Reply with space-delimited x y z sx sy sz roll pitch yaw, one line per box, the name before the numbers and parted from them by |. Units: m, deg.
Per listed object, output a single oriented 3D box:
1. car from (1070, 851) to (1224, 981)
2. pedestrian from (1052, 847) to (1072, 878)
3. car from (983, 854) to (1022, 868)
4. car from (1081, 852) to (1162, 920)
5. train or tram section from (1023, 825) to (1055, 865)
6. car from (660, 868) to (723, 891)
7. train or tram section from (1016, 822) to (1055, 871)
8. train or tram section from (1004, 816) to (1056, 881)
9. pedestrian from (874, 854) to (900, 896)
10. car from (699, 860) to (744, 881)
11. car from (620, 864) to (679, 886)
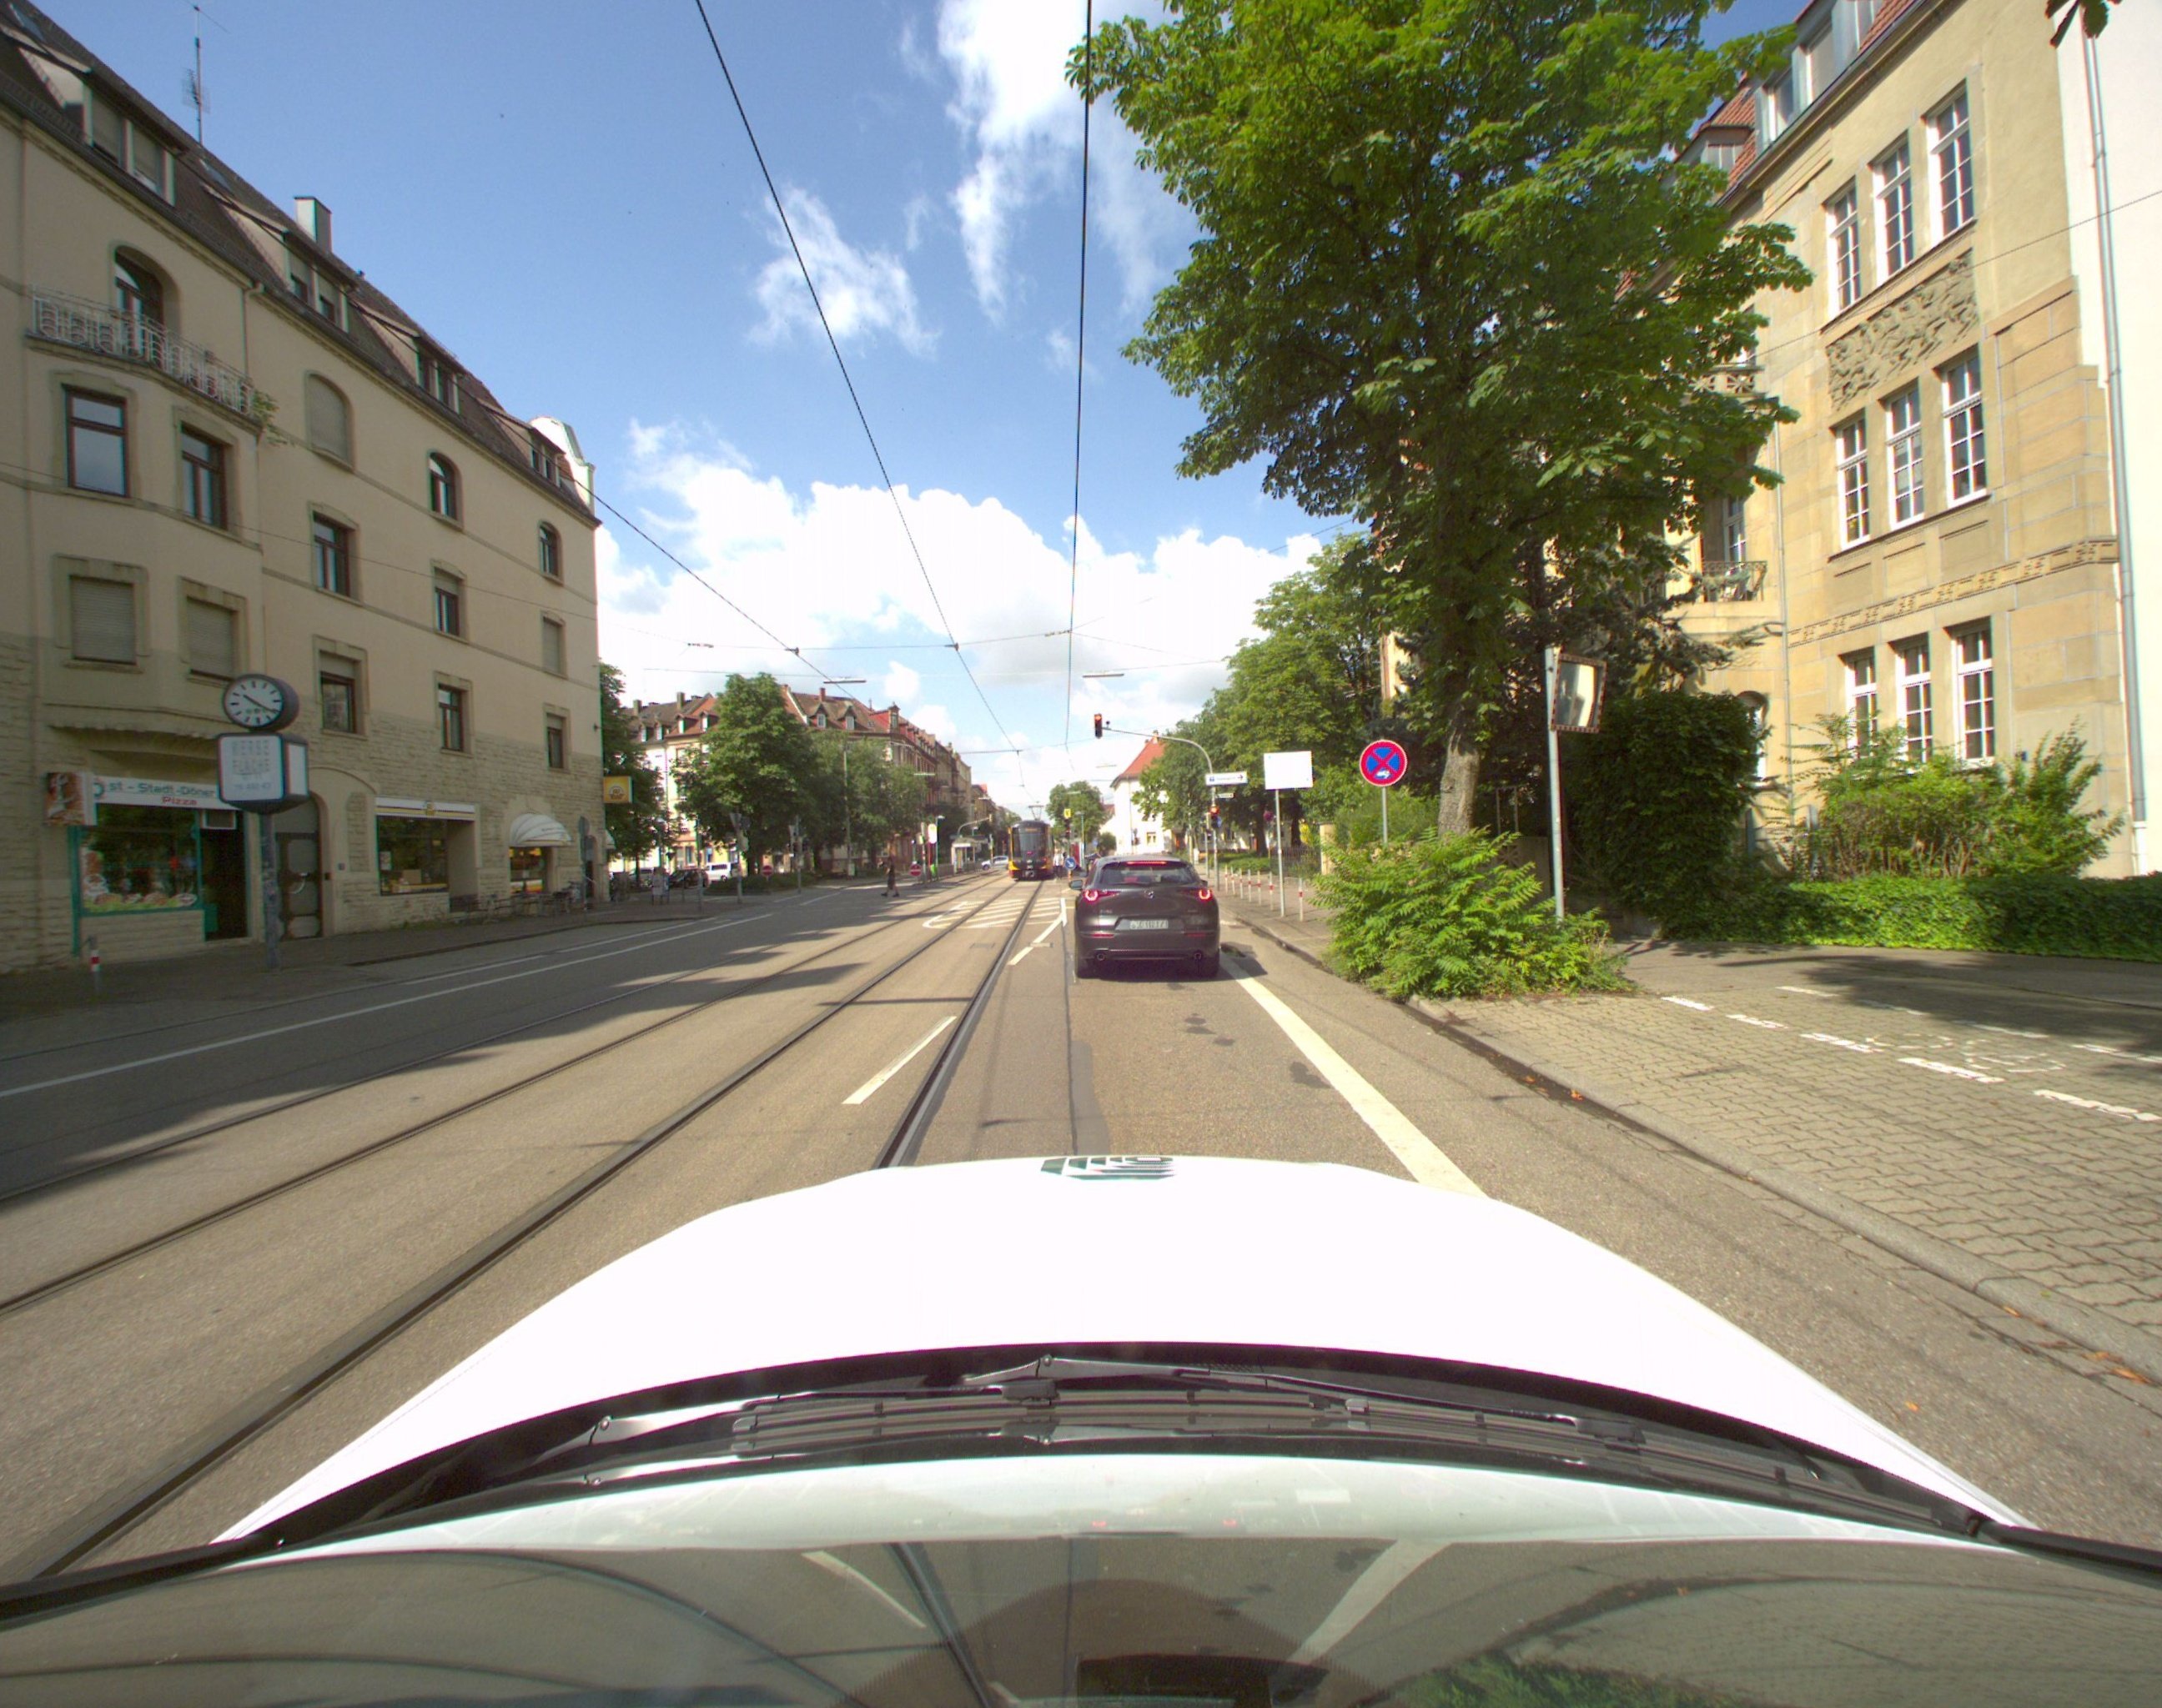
car | 0.823 0.713 11.444 1.772 1.499 4.002 0 0 2
pedestrian | -1.049 0.484 45.550 0.723 1.705 0.814 -2 0 -40
car | -8.527 0.794 88.245 3.988 1.360 1.672 -2 0 -11
car | 0.959 0.706 20.055 1.772 1.499 4.002 0 0 2
train or tram section | -4.067 -0.916 81.281 2.745 3.490 14.398 -2 1 -2
car | -30.172 1.980 63.173 1.738 1.518 4.095 -2 0 32
train or tram section | -3.579 -0.676 66.896 2.745 3.490 14.398 -2 1 -2
train or tram section | -3.096 -0.414 52.530 2.745 3.490 14.398 -2 1 -2
pedestrian | -8.072 0.866 33.908 0.746 1.684 0.702 -2 0 11
car | -36.254 1.657 82.226 3.950 1.903 2.012 -2 0 26
car | -37.001 1.786 69.913 3.971 1.596 2.001 -2 0 2
